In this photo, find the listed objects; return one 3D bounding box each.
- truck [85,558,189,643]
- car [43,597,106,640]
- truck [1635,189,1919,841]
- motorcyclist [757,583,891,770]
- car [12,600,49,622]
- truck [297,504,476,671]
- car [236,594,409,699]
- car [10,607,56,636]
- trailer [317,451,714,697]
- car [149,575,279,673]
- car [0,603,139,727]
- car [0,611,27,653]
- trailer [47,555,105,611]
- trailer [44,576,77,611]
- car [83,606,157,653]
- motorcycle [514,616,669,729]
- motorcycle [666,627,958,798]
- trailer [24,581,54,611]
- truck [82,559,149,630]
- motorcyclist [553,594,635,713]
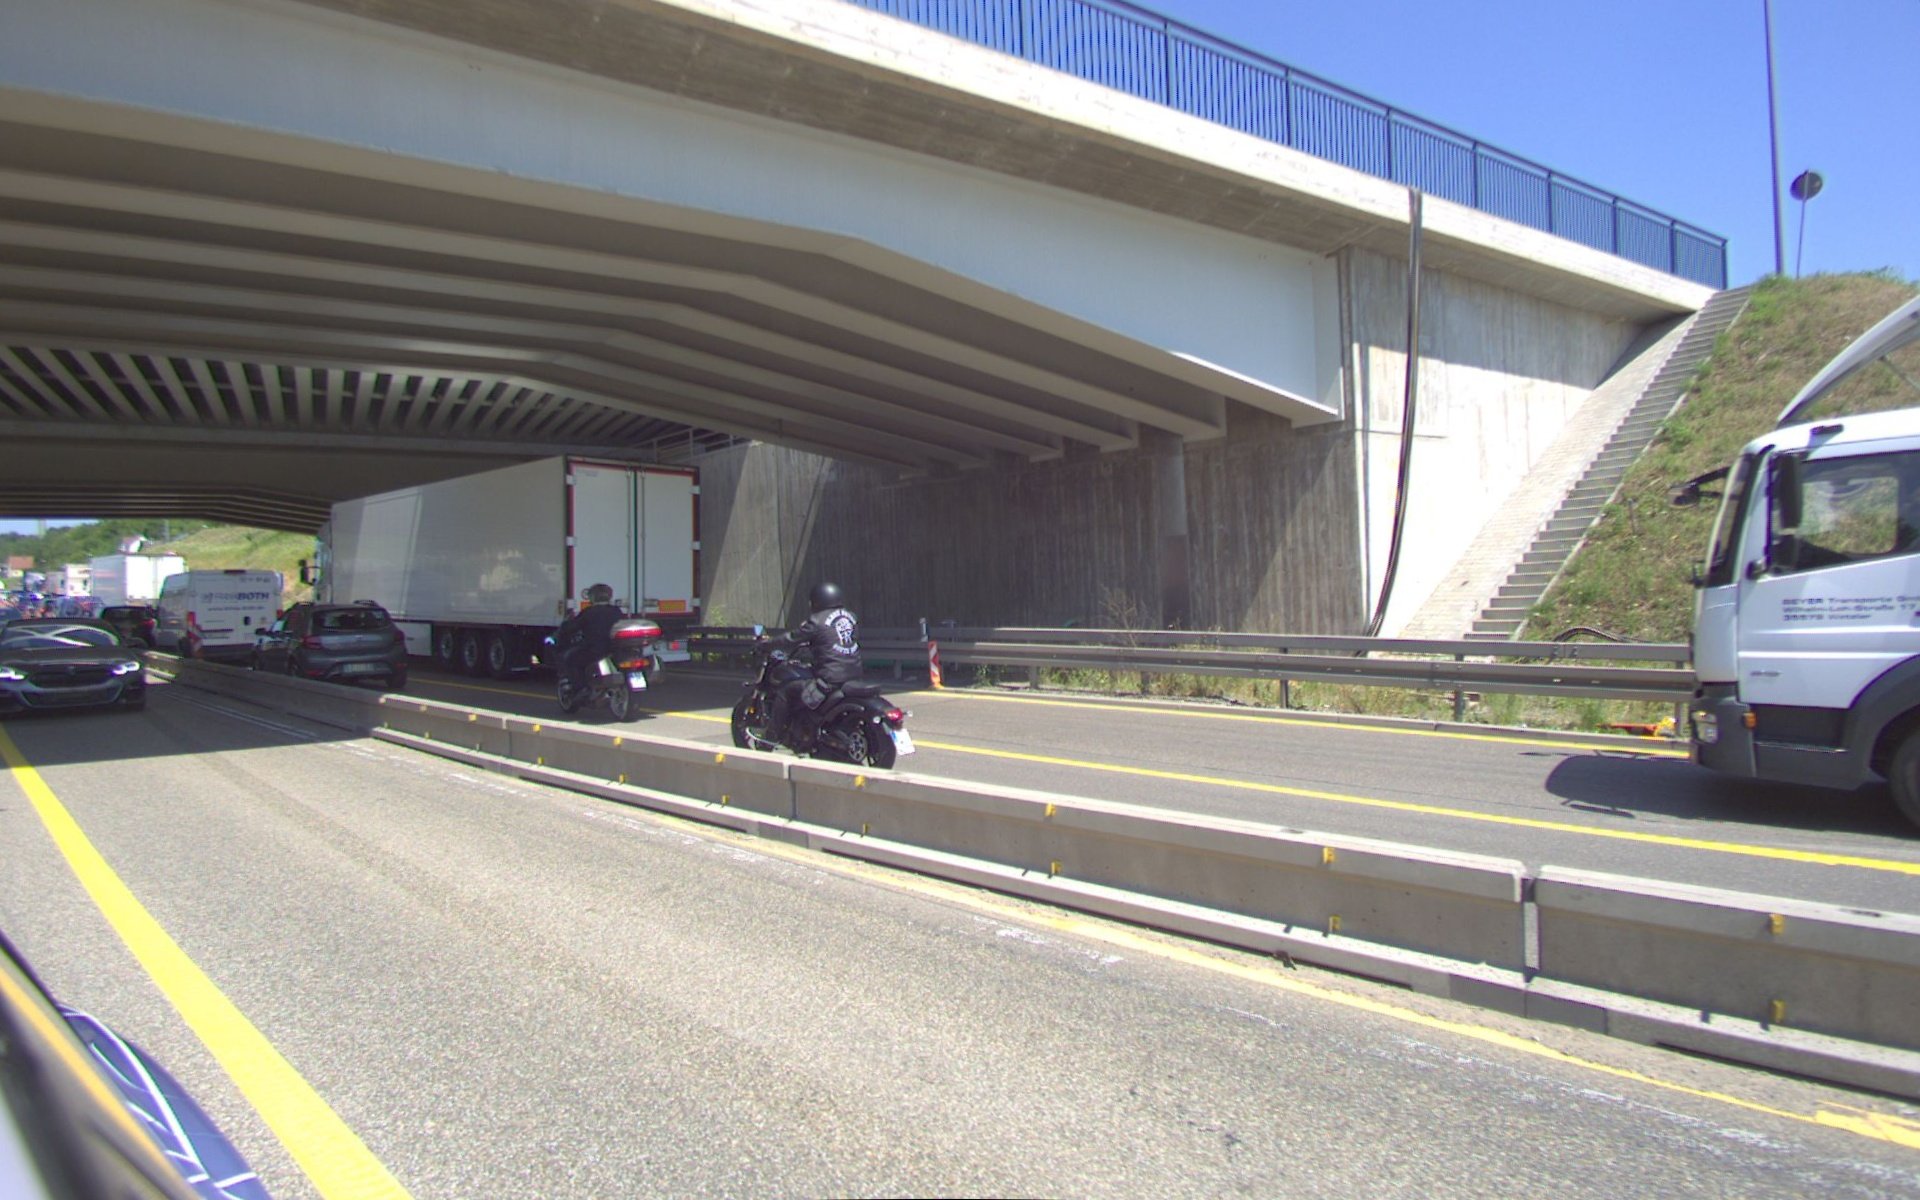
[{"bbox_3d":[-46.980,-0.112,57.548,13.491,4.345,2.739,1,2,43],"label":"truck"},{"bbox_3d":[-43.413,0.872,49.577,4.968,1.947,1.780,0,0,43],"label":"car"},{"bbox_3d":[8.492,-0.546,4.924,8.483,3.602,2.791,-1,0,37],"label":"truck"},{"bbox_3d":[-1.113,0.575,8.296,0.743,1.427,0.802,1,1,42],"label":"motorcyclist"},{"bbox_3d":[-71.438,0.783,77.736,4.775,1.539,1.835,1,2,44],"label":"car"},{"bbox_3d":[-15.646,-0.328,27.510,4.886,4.081,2.842,-1,1,44],"label":"truck"},{"bbox_3d":[-11.728,0.797,18.519,4.079,1.683,1.727,-2,0,44],"label":"car"},{"bbox_3d":[-55.869,1.301,60.970,4.525,1.621,1.703,-1,1,44],"label":"car"},{"bbox_3d":[-10.771,-0.393,22.749,14.362,4.070,2.845,-1,1,44],"label":"trailer"},{"bbox_3d":[-20.018,0.565,27.021,1.958,2.347,6.062,-1,0,-44],"label":"car"},{"bbox_3d":[-13.851,0.900,15.346,1.812,1.609,4.393,-1,0,-44],"label":"car"},{"bbox_3d":[-37.046,1.195,38.765,1.812,1.484,4.393,-1,1,-44],"label":"car"},{"bbox_3d":[-69.949,-1.337,80.003,8.246,4.205,2.781,1,2,44],"label":"trailer"},{"bbox_3d":[-103.322,-0.855,116.365,2.623,3.844,11.839,-1,1,-41],"label":"trailer"},{"bbox_3d":[-31.226,1.042,37.573,1.729,1.622,4.143,-1,0,-45],"label":"car"},{"bbox_3d":[-4.747,0.867,12.891,2.735,1.289,0.695,-1,0,44],"label":"motorcycle"},{"bbox_3d":[-1.332,0.843,8.510,2.790,1.158,0.824,0,1,42],"label":"motorcycle"},{"bbox_3d":[-125.358,-0.582,137.695,2.569,3.899,11.282,-1,2,-44],"label":"trailer"},{"bbox_3d":[-51.899,-0.378,62.162,5.189,4.202,2.629,1,2,45],"label":"truck"},{"bbox_3d":[-4.620,0.648,12.783,0.743,1.427,0.710,1,1,42],"label":"motorcyclist"}]
